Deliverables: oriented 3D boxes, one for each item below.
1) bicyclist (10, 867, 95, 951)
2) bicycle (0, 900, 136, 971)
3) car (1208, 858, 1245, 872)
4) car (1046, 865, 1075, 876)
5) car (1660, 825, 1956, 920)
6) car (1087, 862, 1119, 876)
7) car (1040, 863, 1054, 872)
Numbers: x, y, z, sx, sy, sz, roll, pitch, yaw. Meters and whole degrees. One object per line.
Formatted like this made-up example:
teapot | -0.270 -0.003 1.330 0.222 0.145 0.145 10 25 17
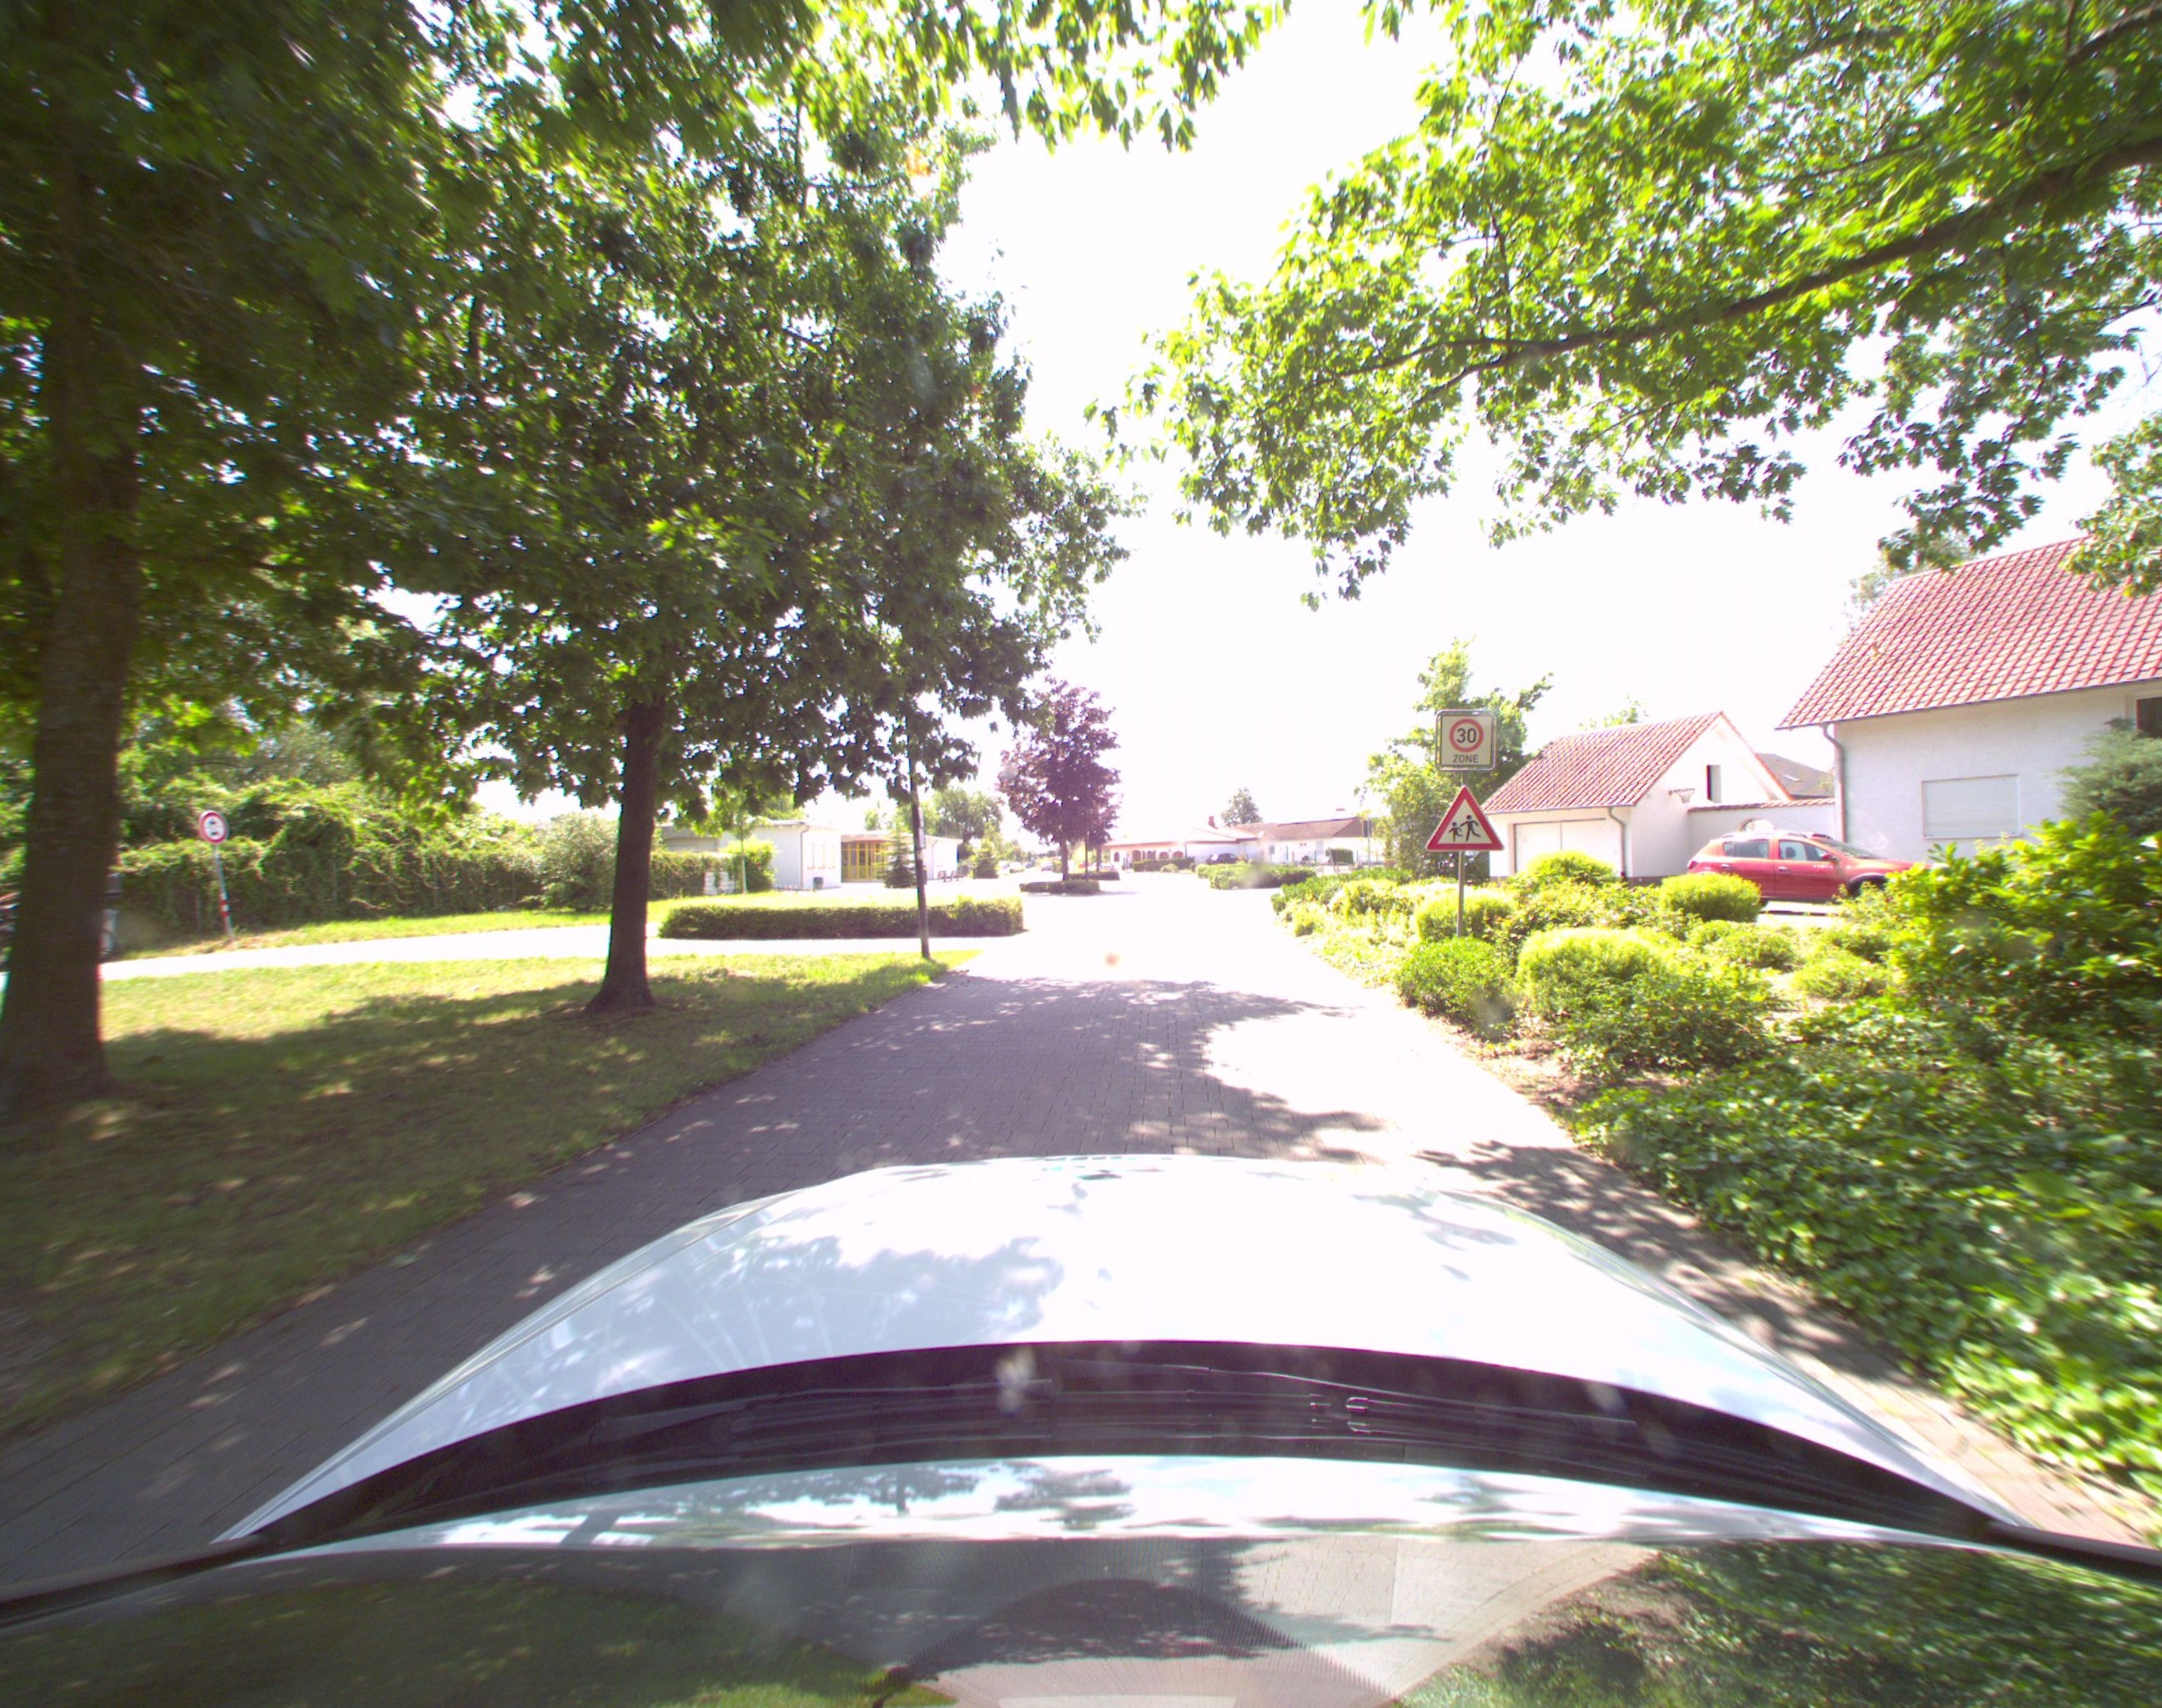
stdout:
bicyclist | -15.054 0.785 11.942 0.652 1.164 0.592 0 -1 -39
bicycle | -15.104 1.182 11.888 1.628 0.929 0.592 0 -1 -39
car | 15.637 1.180 87.349 3.855 1.542 1.833 0 -1 -38
car | -2.489 1.941 96.168 2.003 1.288 3.967 0 -1 -25
car | 14.003 0.347 15.991 1.668 1.601 3.995 0 -1 -24
car | 2.042 1.411 77.118 1.622 1.288 3.527 0 -1 -25
car | -4.714 1.871 113.046 1.613 1.288 3.548 -1 -1 -7
